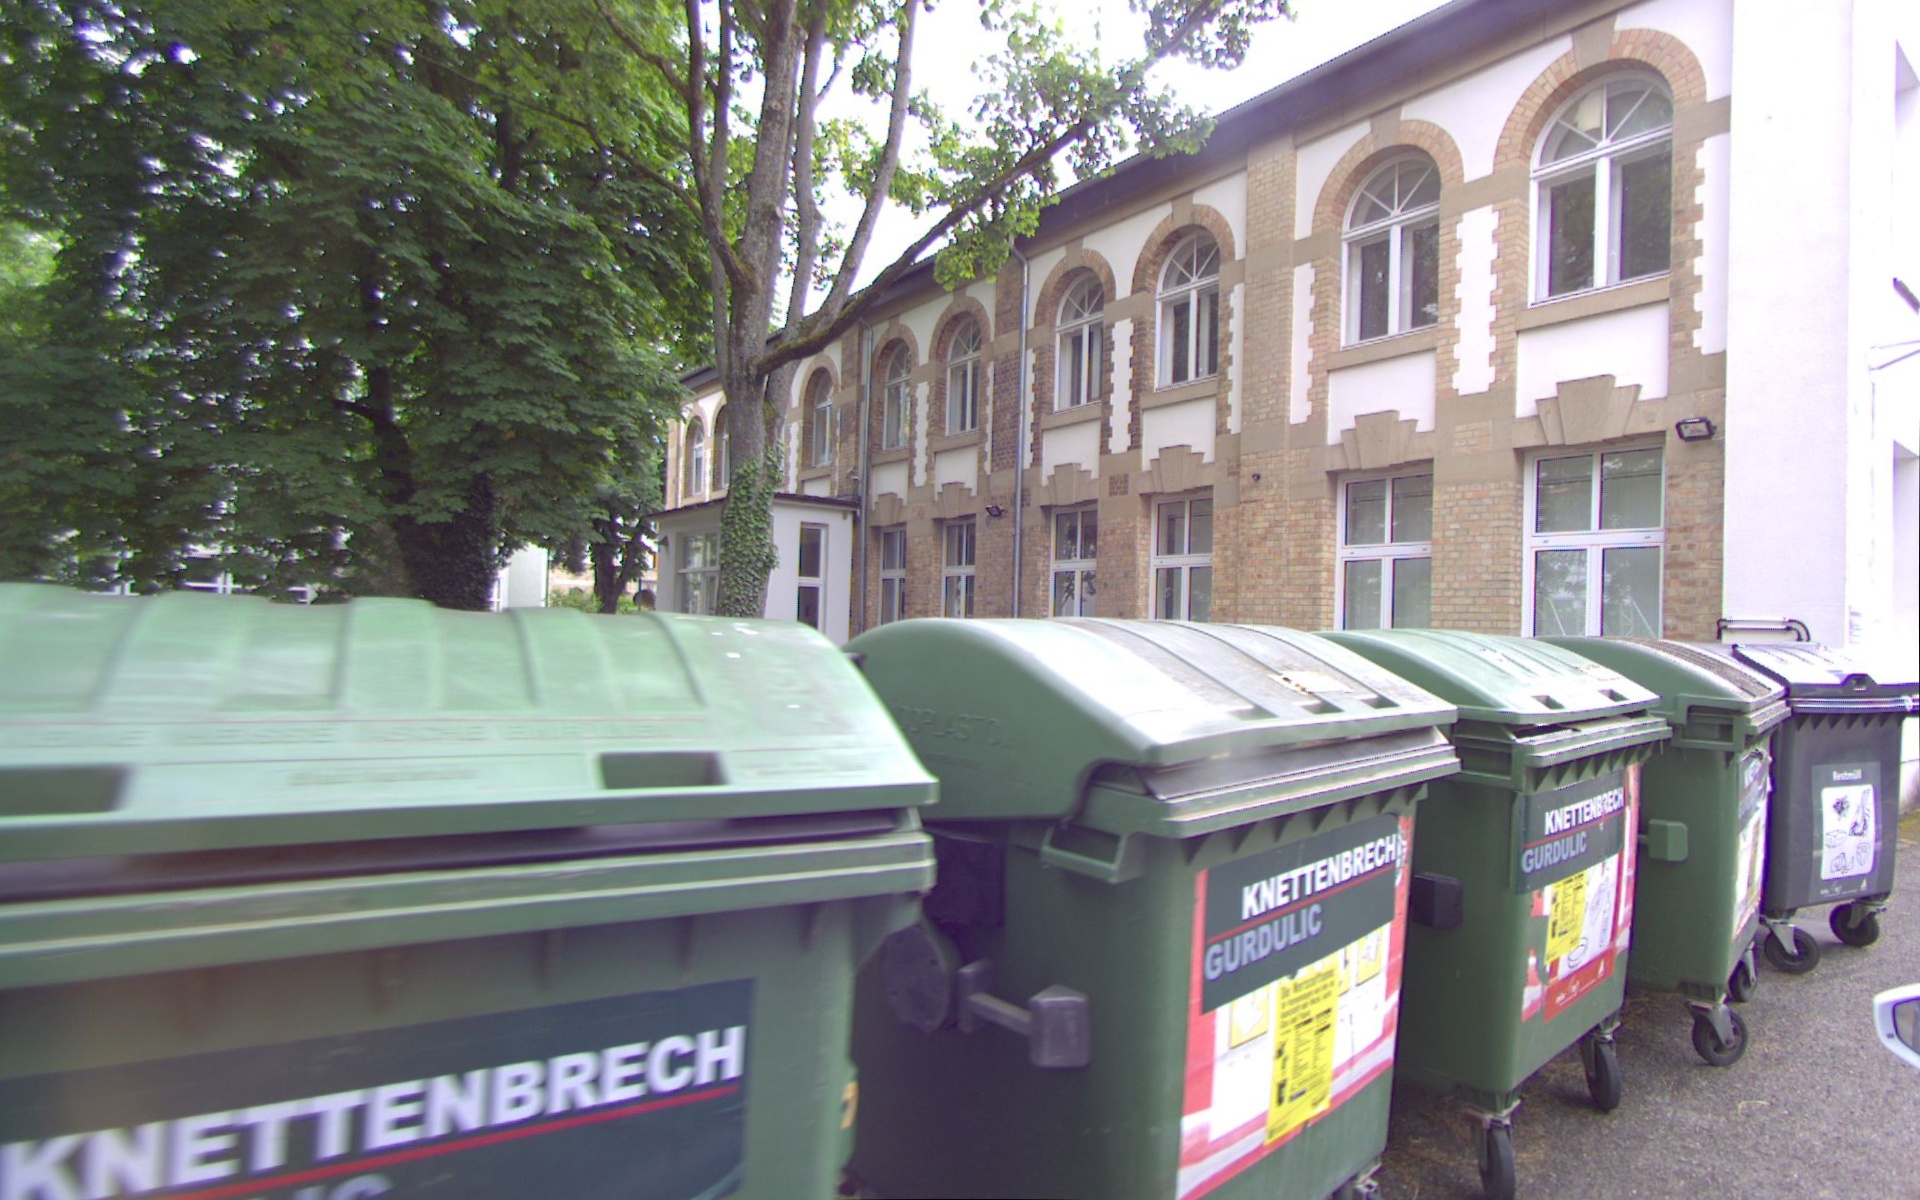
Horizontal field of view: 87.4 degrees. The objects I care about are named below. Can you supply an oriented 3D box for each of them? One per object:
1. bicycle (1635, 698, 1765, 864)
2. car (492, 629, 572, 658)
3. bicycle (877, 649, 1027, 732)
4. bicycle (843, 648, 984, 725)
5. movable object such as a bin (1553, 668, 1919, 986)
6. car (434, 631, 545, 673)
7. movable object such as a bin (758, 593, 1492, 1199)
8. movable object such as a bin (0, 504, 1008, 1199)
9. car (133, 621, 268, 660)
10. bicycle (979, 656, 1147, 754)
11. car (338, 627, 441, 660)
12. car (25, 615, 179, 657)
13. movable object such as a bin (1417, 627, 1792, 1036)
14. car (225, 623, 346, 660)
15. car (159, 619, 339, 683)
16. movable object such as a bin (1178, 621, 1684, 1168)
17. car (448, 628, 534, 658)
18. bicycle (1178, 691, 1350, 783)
[{"bbox_3d":[5.689,1.321,7.684,1.814,1.079,0.391,3,-2,-40],"label":"bicycle"},{"bbox_3d":[-23.622,2.405,55.494,3.646,1.404,1.700,3,-1,1],"label":"car"},{"bbox_3d":[-0.088,1.317,14.786,2.197,1.134,0.614,3,-2,-32],"label":"bicycle"},{"bbox_3d":[-0.715,1.355,15.945,2.197,1.134,0.614,3,-2,-32],"label":"bicycle"},{"bbox_3d":[3.881,1.008,4.989,1.336,1.281,1.049,2,-2,-25],"label":"movable object such as a bin"},{"bbox_3d":[-15.617,1.712,33.469,1.484,1.320,3.178,0,-2,22],"label":"car"},{"bbox_3d":[0.412,0.758,2.303,1.345,1.475,1.042,3,-2,-43],"label":"movable object such as a bin"},{"bbox_3d":[-0.799,0.682,1.371,1.338,1.469,1.048,4,-2,-29],"label":"movable object such as a bin"},{"bbox_3d":[-30.402,1.628,40.316,3.909,1.369,1.692,3,-2,-20],"label":"car"},{"bbox_3d":[1.332,1.295,12.693,2.197,1.134,0.614,3,-2,-32],"label":"bicycle"},{"bbox_3d":[-26.798,2.053,47.309,3.909,1.369,1.692,3,-2,-20],"label":"car"},{"bbox_3d":[-31.738,1.345,37.294,3.909,1.369,1.692,3,-2,-20],"label":"car"},{"bbox_3d":[2.630,0.771,4.054,1.041,1.281,1.346,0,-2,44],"label":"movable object such as a bin"},{"bbox_3d":[-28.813,1.788,43.028,3.909,1.369,1.692,3,-2,-20],"label":"car"},{"bbox_3d":[-18.617,1.320,26.464,1.452,1.500,3.563,2,-1,24],"label":"car"},{"bbox_3d":[1.537,0.730,3.235,1.344,1.281,1.043,3,-2,-43],"label":"movable object such as a bin"},{"bbox_3d":[-24.553,2.248,52.652,3.646,1.404,1.700,3,-1,1],"label":"car"},{"bbox_3d":[3.207,1.403,10.524,1.923,0.824,0.614,2,-2,-32],"label":"bicycle"}]
